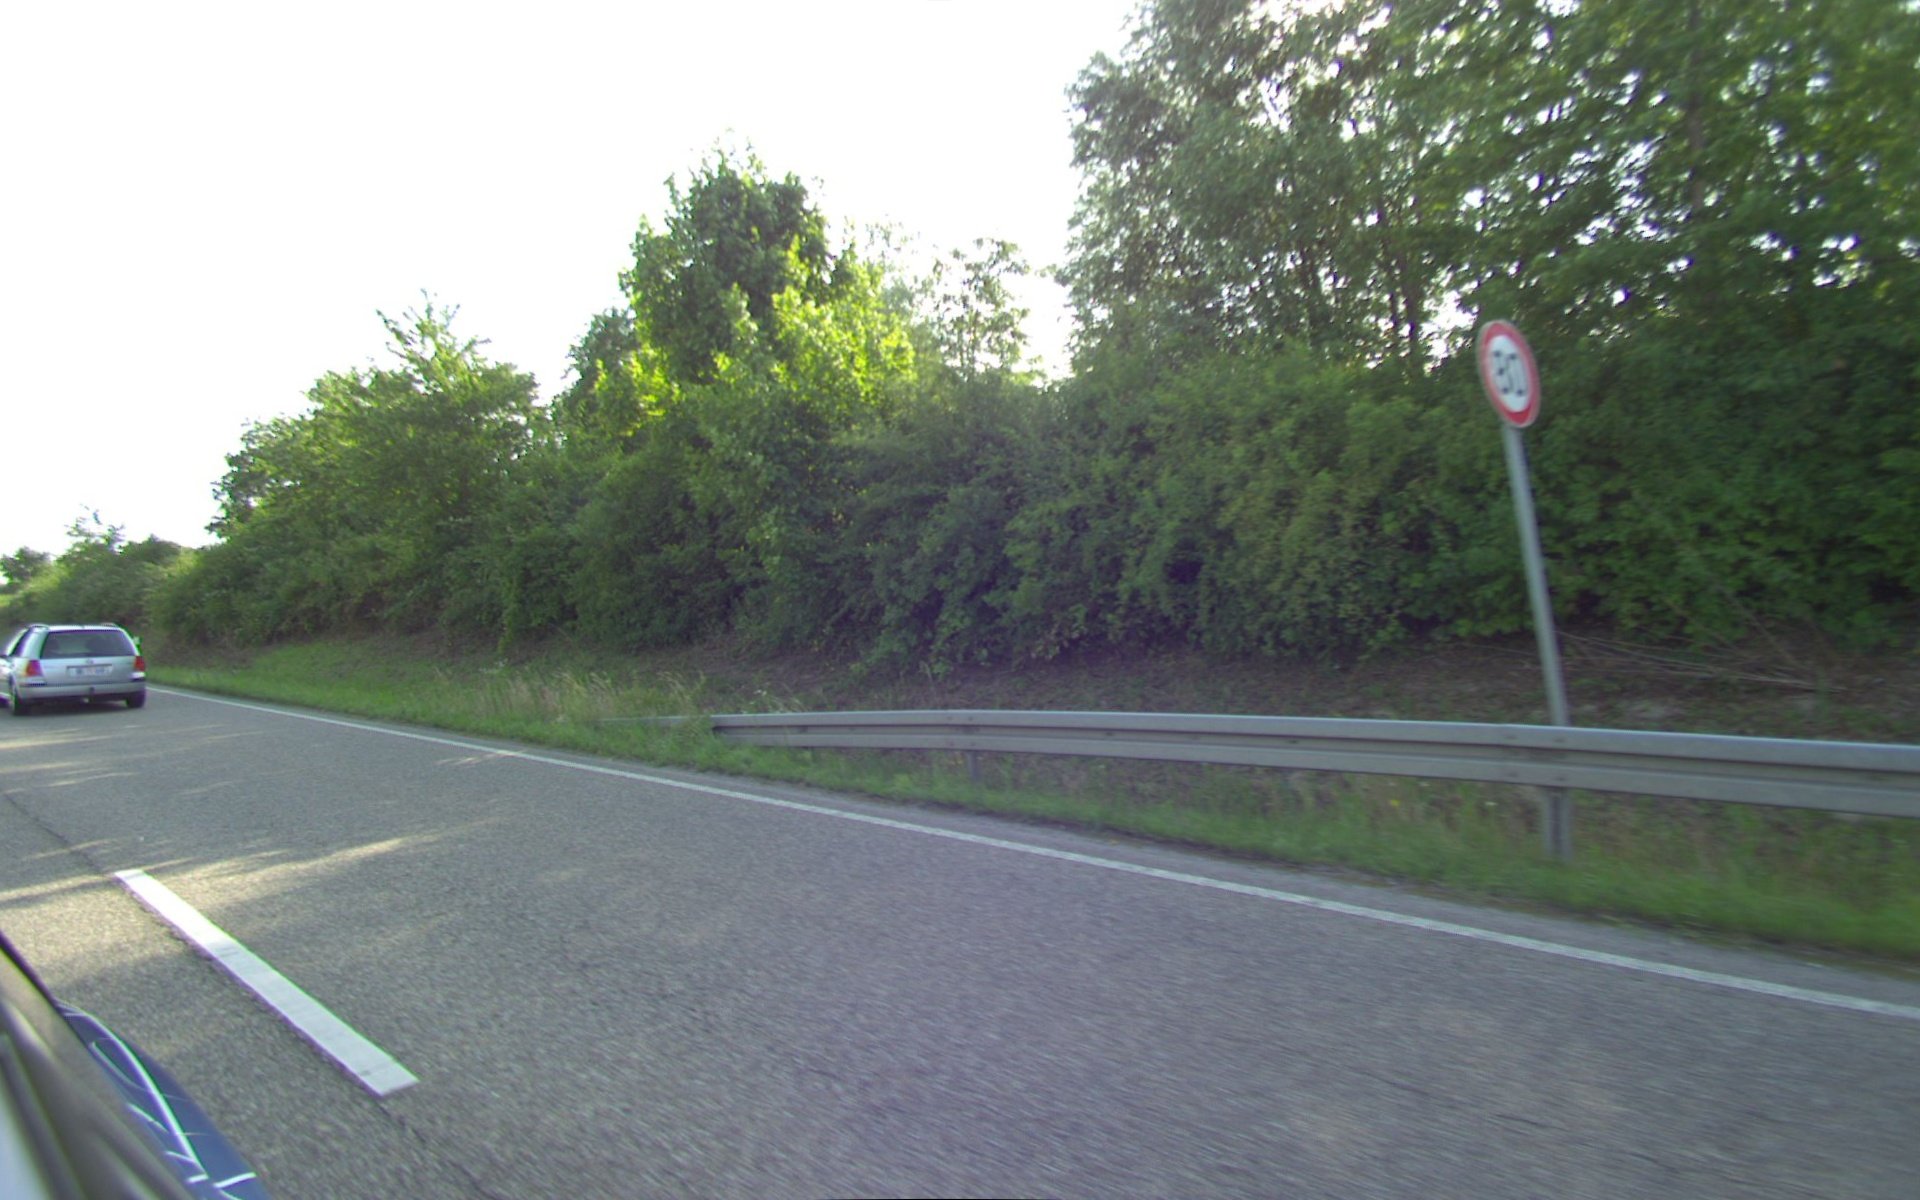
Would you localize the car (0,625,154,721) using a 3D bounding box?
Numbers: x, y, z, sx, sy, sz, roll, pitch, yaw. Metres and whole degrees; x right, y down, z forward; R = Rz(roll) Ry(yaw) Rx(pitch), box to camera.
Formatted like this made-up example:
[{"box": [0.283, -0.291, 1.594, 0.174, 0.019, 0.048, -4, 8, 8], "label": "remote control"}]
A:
[{"box": [-15.421, 1.152, 17.385, 4.358, 1.405, 1.702, -1, -1, 41], "label": "car"}]
